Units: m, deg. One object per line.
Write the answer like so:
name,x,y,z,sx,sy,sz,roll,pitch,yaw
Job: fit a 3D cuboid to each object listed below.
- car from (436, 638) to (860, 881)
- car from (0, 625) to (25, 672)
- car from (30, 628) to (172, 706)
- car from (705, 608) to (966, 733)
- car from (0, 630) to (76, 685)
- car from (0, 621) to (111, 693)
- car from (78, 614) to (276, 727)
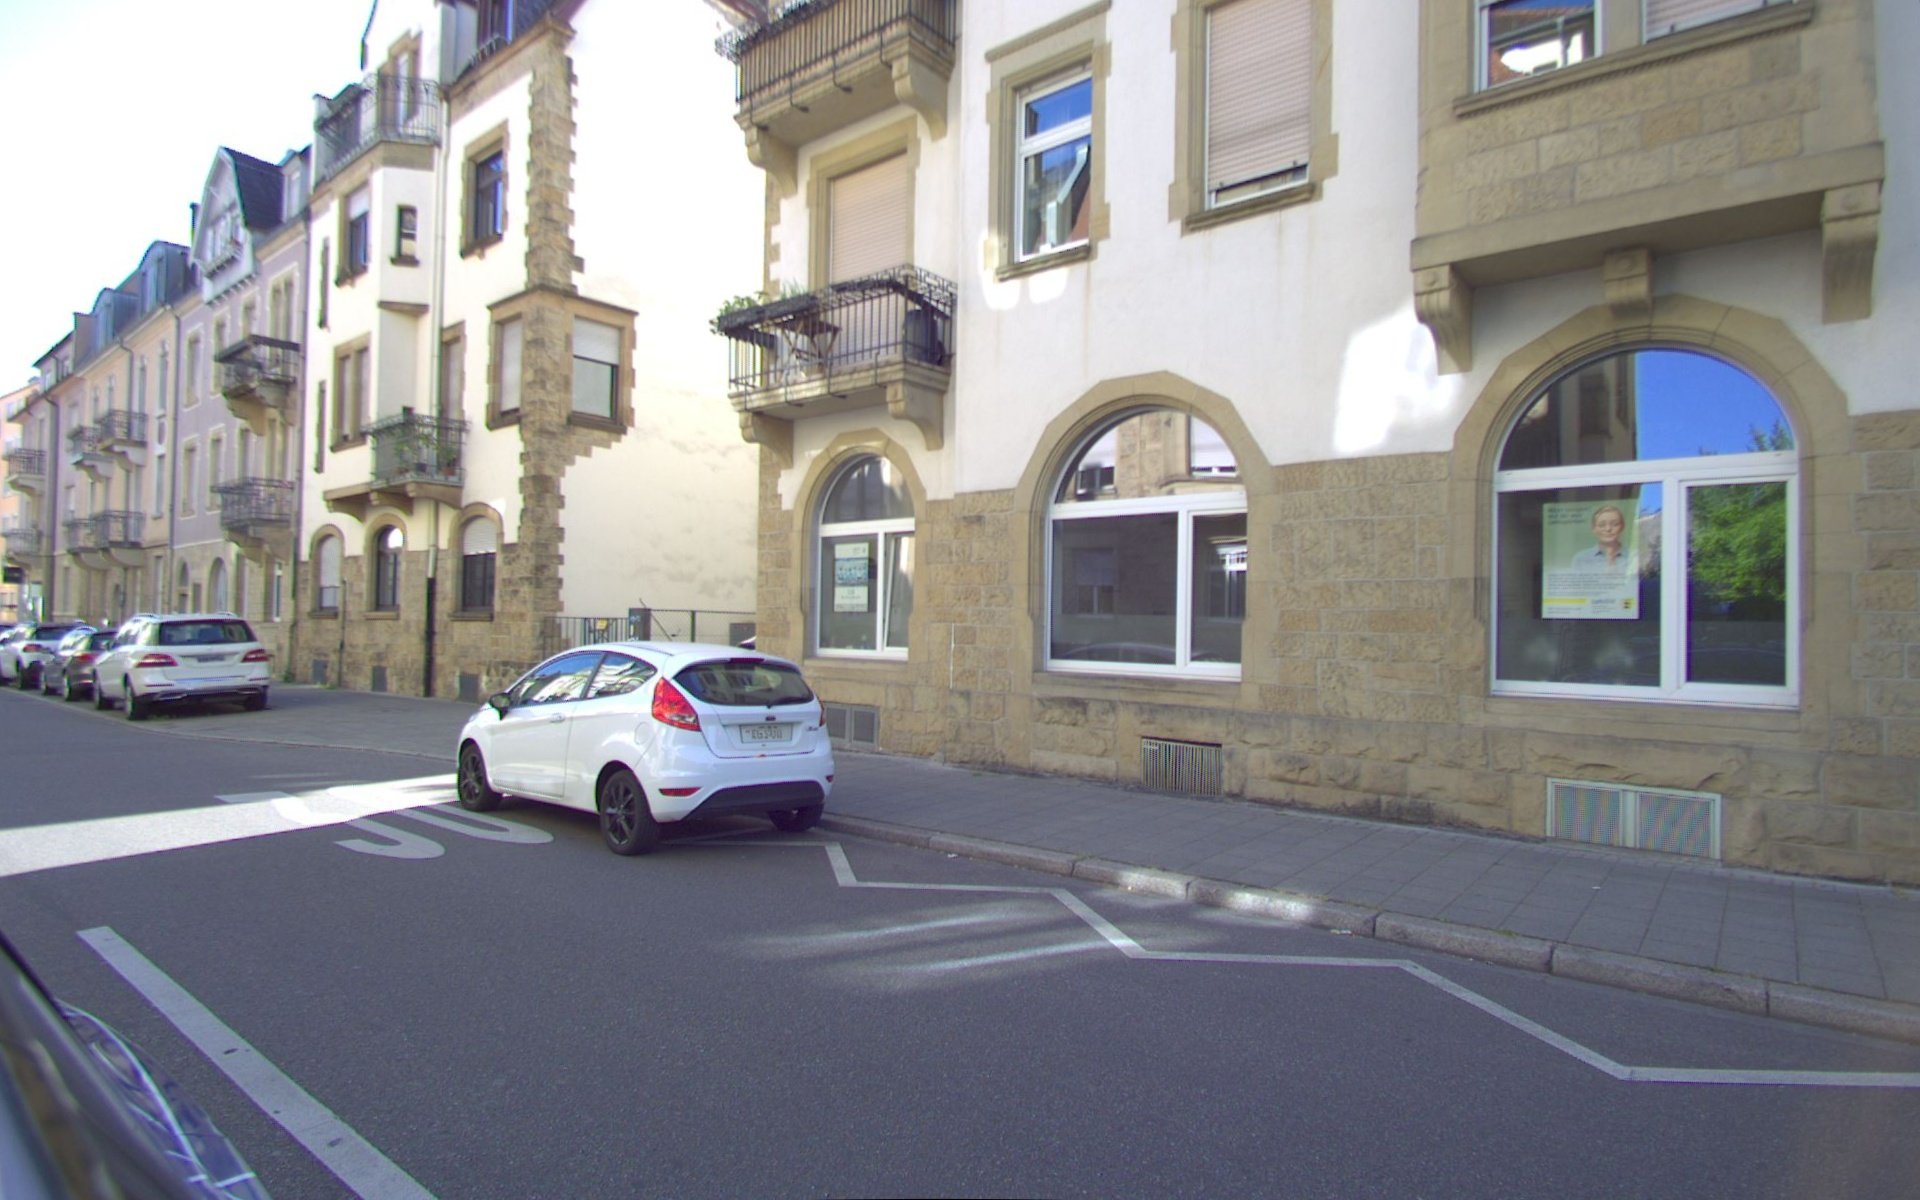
car,-2.661,1.064,8.203,3.734,1.475,1.616,-1,-2,43
car,-33.006,1.627,34.079,3.719,1.550,1.698,-2,-2,38
car,-18.427,1.353,21.641,4.275,1.498,1.558,-1,-1,39
car,-1.882,1.073,16.280,1.908,1.741,3.928,-2,-3,40
car,-26.814,1.597,28.816,3.658,1.404,1.658,-1,0,36
car,-22.806,1.369,25.228,4.015,1.595,1.698,-1,0,38
car,-14.125,1.168,18.149,4.722,1.735,1.873,-2,-1,40
